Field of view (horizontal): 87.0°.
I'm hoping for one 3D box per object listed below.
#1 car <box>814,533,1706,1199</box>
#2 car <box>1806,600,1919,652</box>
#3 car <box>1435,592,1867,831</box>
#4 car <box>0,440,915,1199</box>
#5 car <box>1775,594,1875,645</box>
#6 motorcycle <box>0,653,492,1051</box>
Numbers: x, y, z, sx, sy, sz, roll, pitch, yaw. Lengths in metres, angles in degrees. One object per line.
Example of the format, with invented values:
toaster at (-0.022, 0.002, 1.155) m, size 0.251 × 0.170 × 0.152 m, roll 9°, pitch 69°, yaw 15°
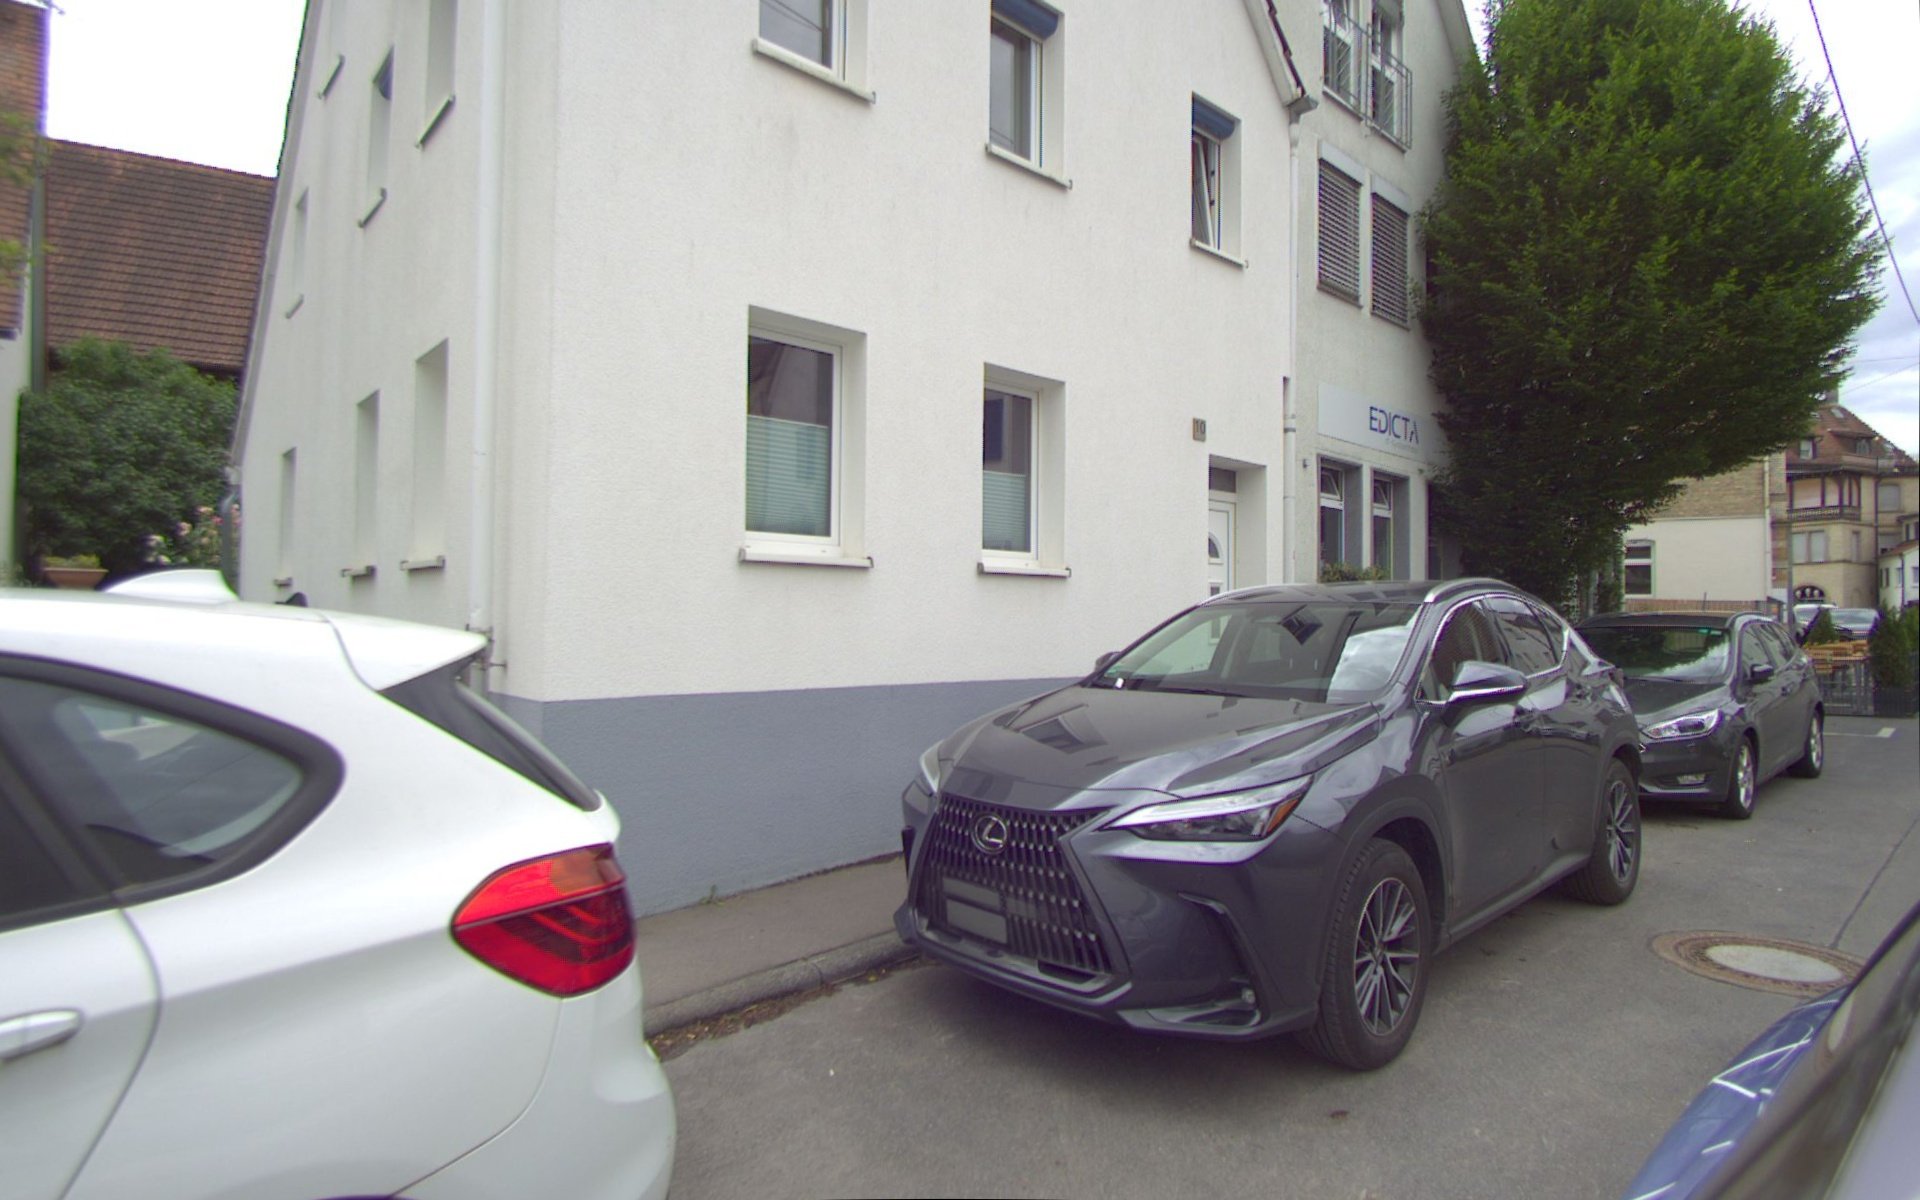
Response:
car at (1.837, 0.659, 4.819) m, size 4.818 × 1.654 × 1.865 m, roll 0°, pitch -1°, yaw -43°
car at (30.600, 0.852, 34.414) m, size 1.776 × 1.621 × 4.499 m, roll -1°, pitch -1°, yaw 27°
car at (6.172, 0.732, 8.791) m, size 4.736 × 1.527 × 1.951 m, roll 0°, pitch -1°, yaw -41°
car at (-2.544, 0.675, 1.045) m, size 4.792 × 1.636 × 1.996 m, roll 0°, pitch -2°, yaw -41°
car at (32.959, 0.746, 38.679) m, size 1.812 × 1.815 × 4.180 m, roll -1°, pitch -2°, yaw 25°
motorcycle at (-3.044, 0.866, 3.894) m, size 2.131 × 1.187 × 0.820 m, roll -1°, pitch 1°, yaw -39°
